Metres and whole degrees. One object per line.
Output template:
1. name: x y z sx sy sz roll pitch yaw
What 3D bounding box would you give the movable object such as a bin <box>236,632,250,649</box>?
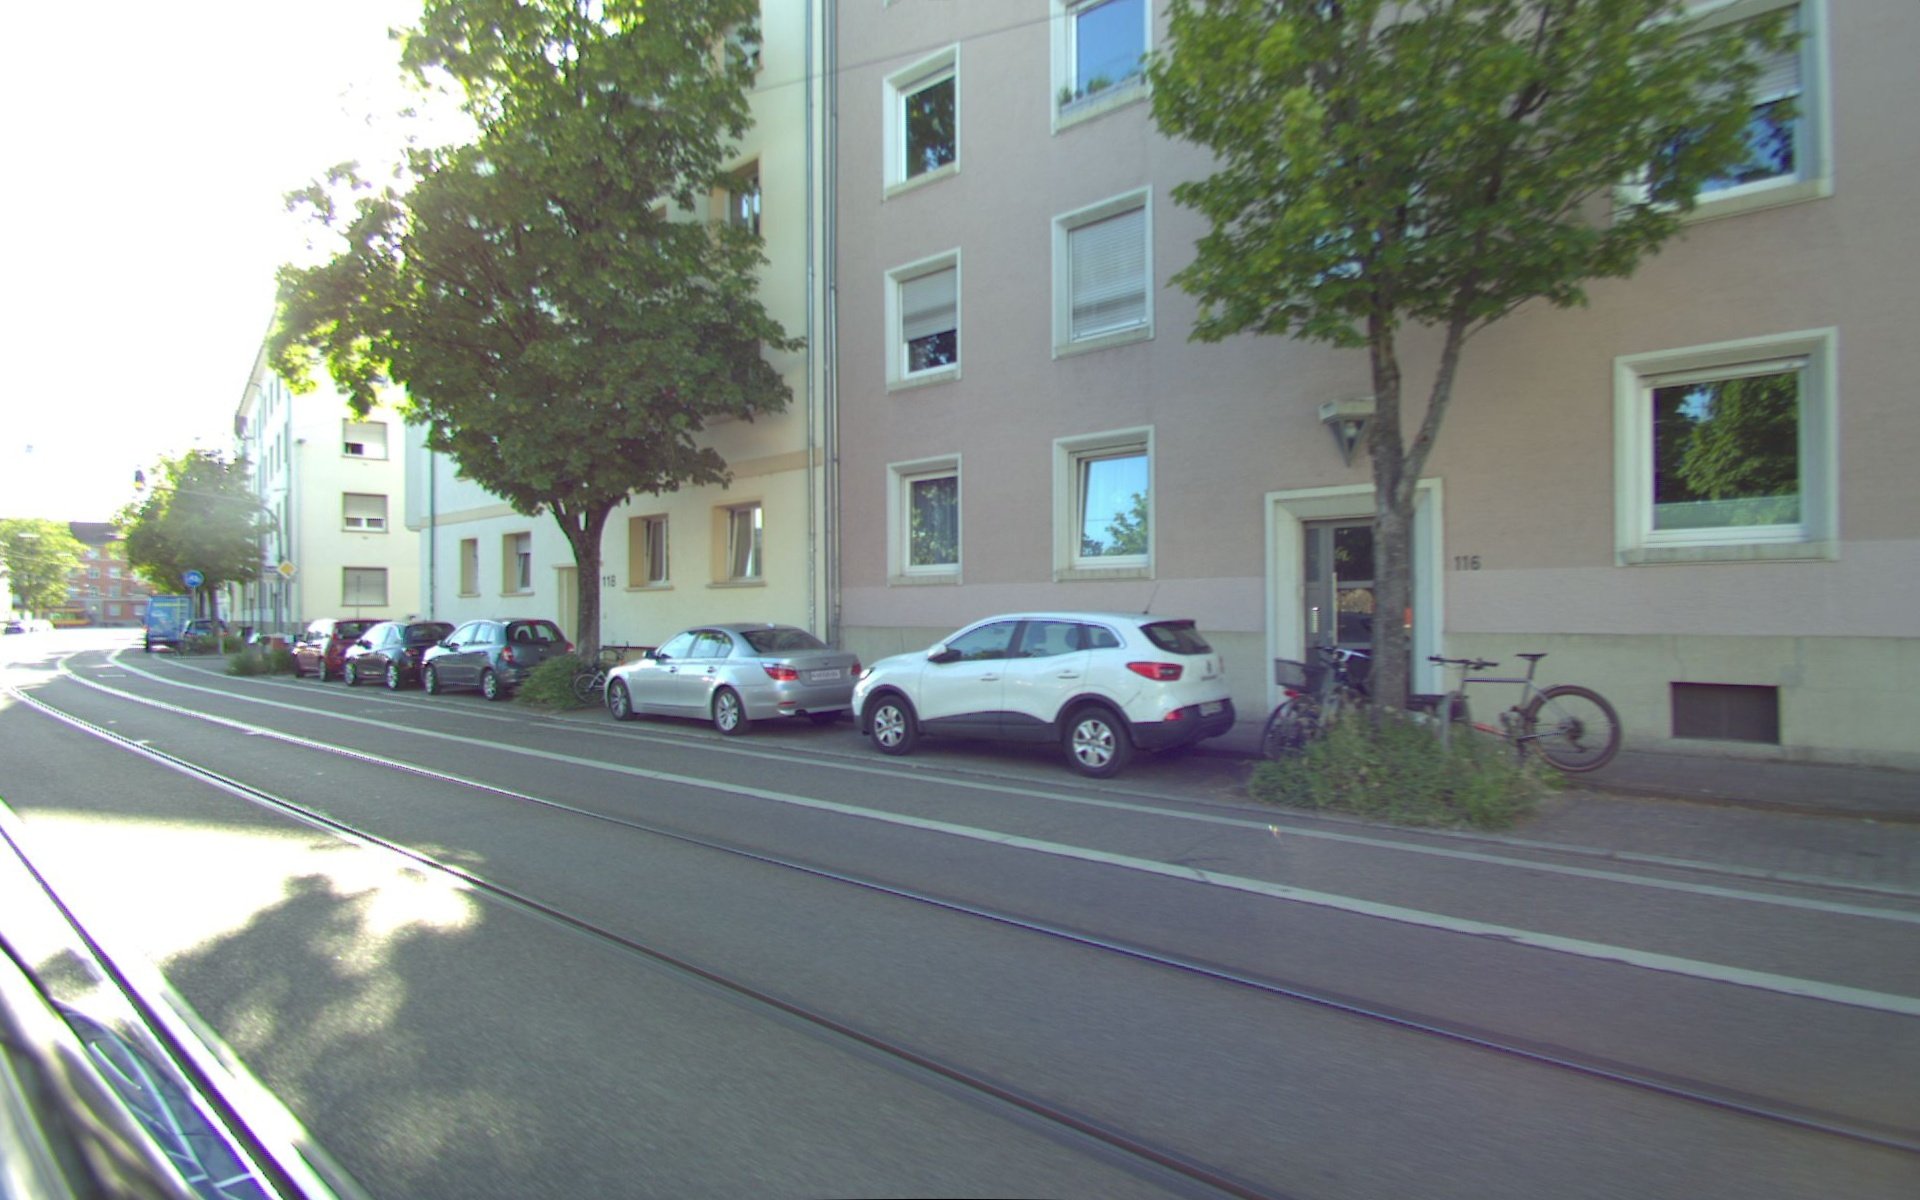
1. movable object such as a bin: -41.810 2.354 59.028 0.588 0.941 0.570 1 -2 -41

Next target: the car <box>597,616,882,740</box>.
1. car: -3.324 1.003 14.620 4.660 1.486 1.670 -1 0 43

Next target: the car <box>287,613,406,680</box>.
1. car: -15.516 1.121 25.521 1.669 1.541 4.002 -1 0 -45

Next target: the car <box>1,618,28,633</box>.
1. car: -102.085 2.766 109.283 1.680 1.493 4.667 4 -3 -38

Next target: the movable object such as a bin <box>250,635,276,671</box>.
1. movable object such as a bin: -19.818 1.497 28.759 0.660 0.995 0.479 -1 -1 44

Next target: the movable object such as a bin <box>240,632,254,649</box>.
1. movable object such as a bin: -40.614 2.324 57.672 0.588 0.941 0.570 1 -2 -41

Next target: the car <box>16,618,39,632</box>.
1. car: -110.433 2.987 119.898 1.690 1.501 4.632 2 -3 -39

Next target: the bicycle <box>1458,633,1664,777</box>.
1. bicycle: 5.017 0.839 8.511 1.439 1.110 0.325 -1 -1 42

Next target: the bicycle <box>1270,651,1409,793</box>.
1. bicycle: 3.432 1.028 9.060 0.476 1.054 1.904 -1 0 42

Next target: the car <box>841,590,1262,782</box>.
1. car: 0.847 0.788 10.860 4.289 1.681 1.636 -1 0 38

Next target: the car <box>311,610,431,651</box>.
1. car: -23.284 1.190 40.073 3.839 1.469 1.770 -1 0 -42

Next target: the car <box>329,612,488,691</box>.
1. car: -12.459 1.106 22.781 3.854 1.541 1.769 -2 1 39

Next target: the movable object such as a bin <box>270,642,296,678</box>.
1. movable object such as a bin: -19.478 1.709 29.122 0.660 0.995 0.479 -1 -1 44

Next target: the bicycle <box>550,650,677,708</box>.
1. bicycle: -5.901 1.324 17.358 0.477 0.831 2.105 -1 0 41

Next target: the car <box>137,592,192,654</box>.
1. car: -39.350 1.113 50.164 1.991 2.847 6.045 -1 0 -37

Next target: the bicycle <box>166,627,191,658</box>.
1. bicycle: -30.569 1.654 39.556 2.032 1.143 0.506 -1 -1 45

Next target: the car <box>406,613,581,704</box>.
1. car: -9.302 1.102 20.080 3.725 1.626 1.576 -1 0 37

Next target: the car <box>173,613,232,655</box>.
1. car: -33.390 1.456 44.575 1.769 1.571 4.651 -8 4 -39
